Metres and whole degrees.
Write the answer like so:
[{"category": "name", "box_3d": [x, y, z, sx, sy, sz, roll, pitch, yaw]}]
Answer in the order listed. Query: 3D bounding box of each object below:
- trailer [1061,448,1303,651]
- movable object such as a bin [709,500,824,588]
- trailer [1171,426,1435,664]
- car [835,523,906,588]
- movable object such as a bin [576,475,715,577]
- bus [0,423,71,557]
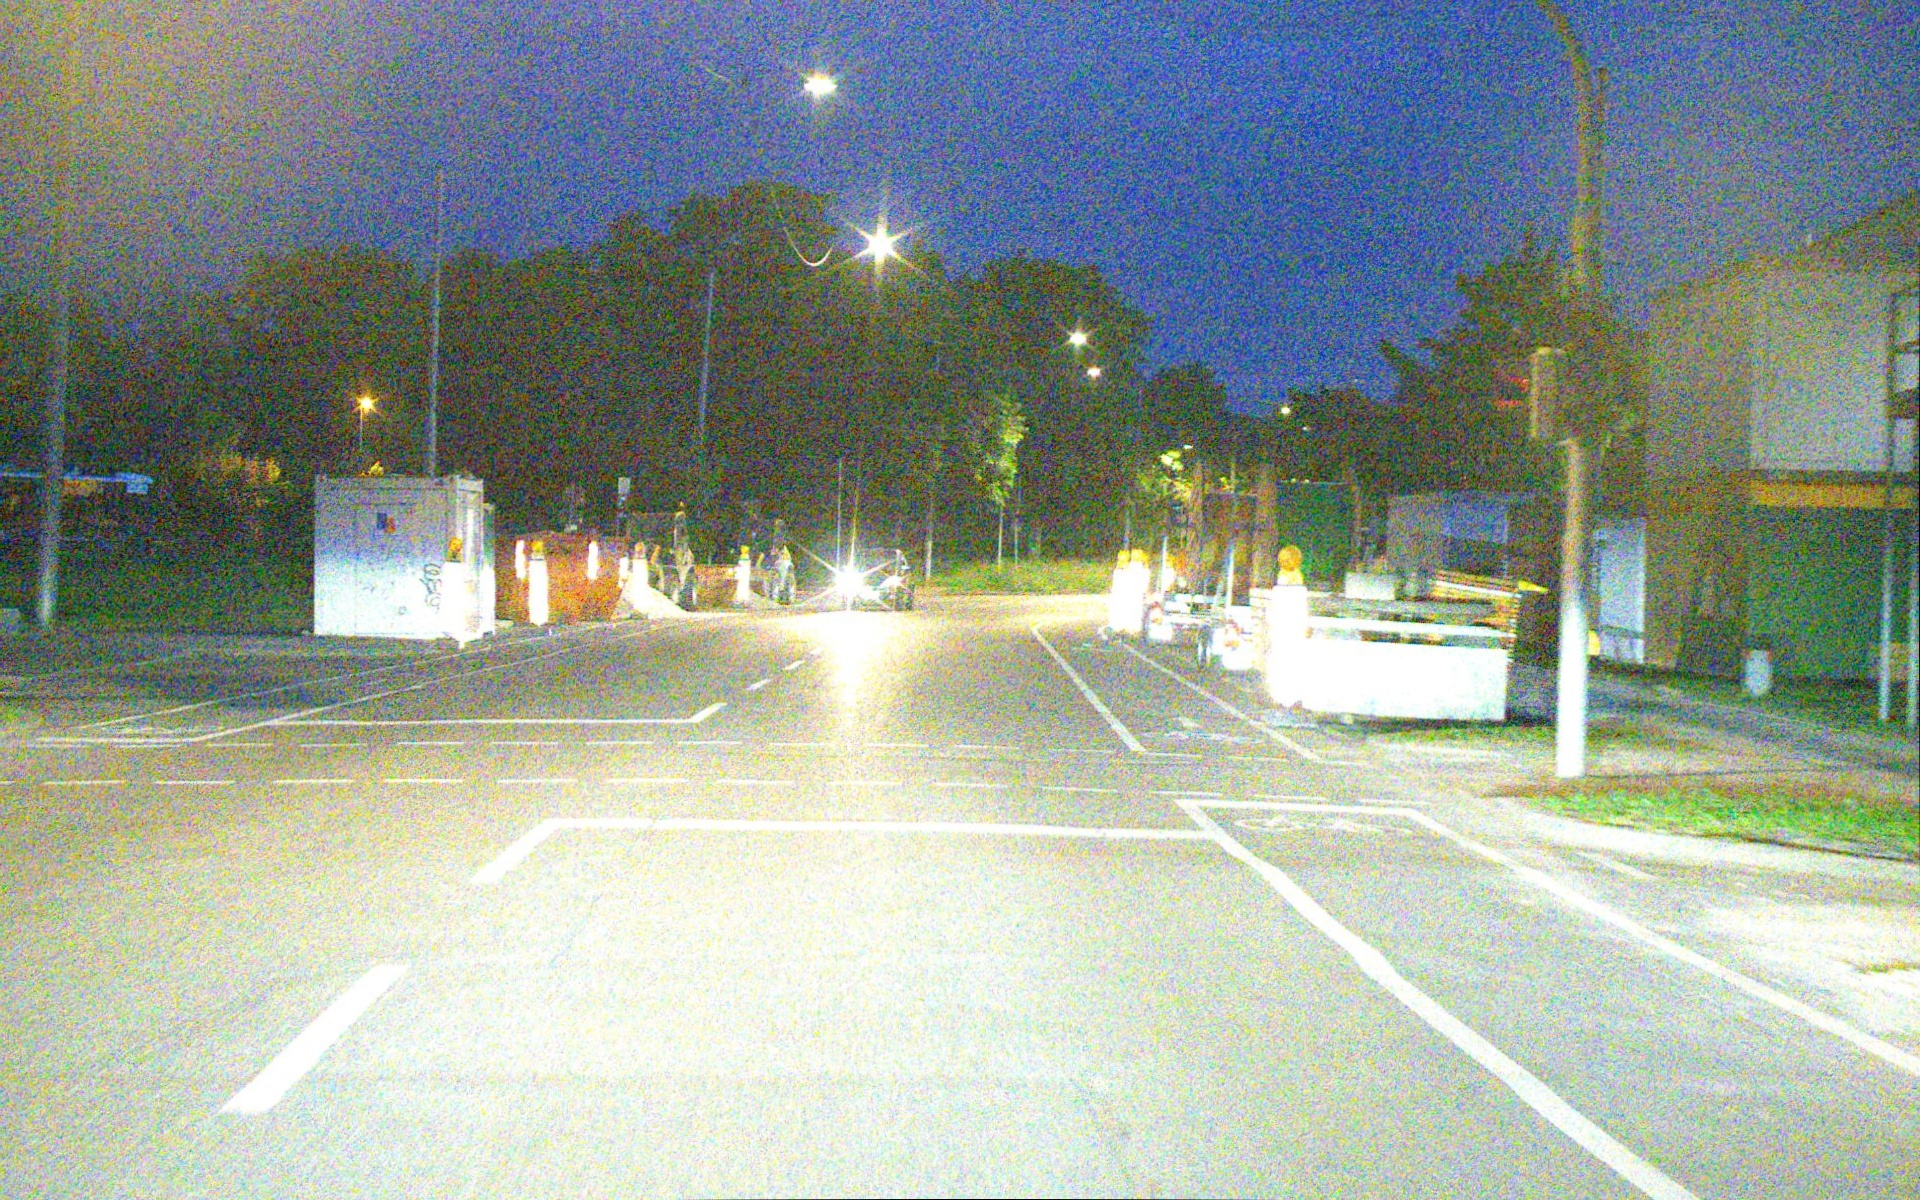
[{"category": "trailer", "box_3d": [3.786, -0.862, 59.920, 3.481, 3.208, 4.866, 3, 0, -3]}, {"category": "movable object such as a bin", "box_3d": [-5.326, -1.539, 95.265, 1.994, 2.368, 4.699, 1, 1, 12]}, {"category": "trailer", "box_3d": [4.439, -0.705, 45.355, 2.613, 2.836, 4.710, 3, 0, -3]}, {"category": "car", "box_3d": [-2.224, -1.132, 85.907, 1.696, 1.571, 2.957, -1, 1, 0]}, {"category": "movable object such as a bin", "box_3d": [-7.551, -1.782, 82.995, 1.994, 2.368, 4.699, 1, 1, 12]}, {"category": "bus", "box_3d": [-25.375, -2.630, 79.575, 3.015, 3.193, 12.662, 2, 1, 17]}]
